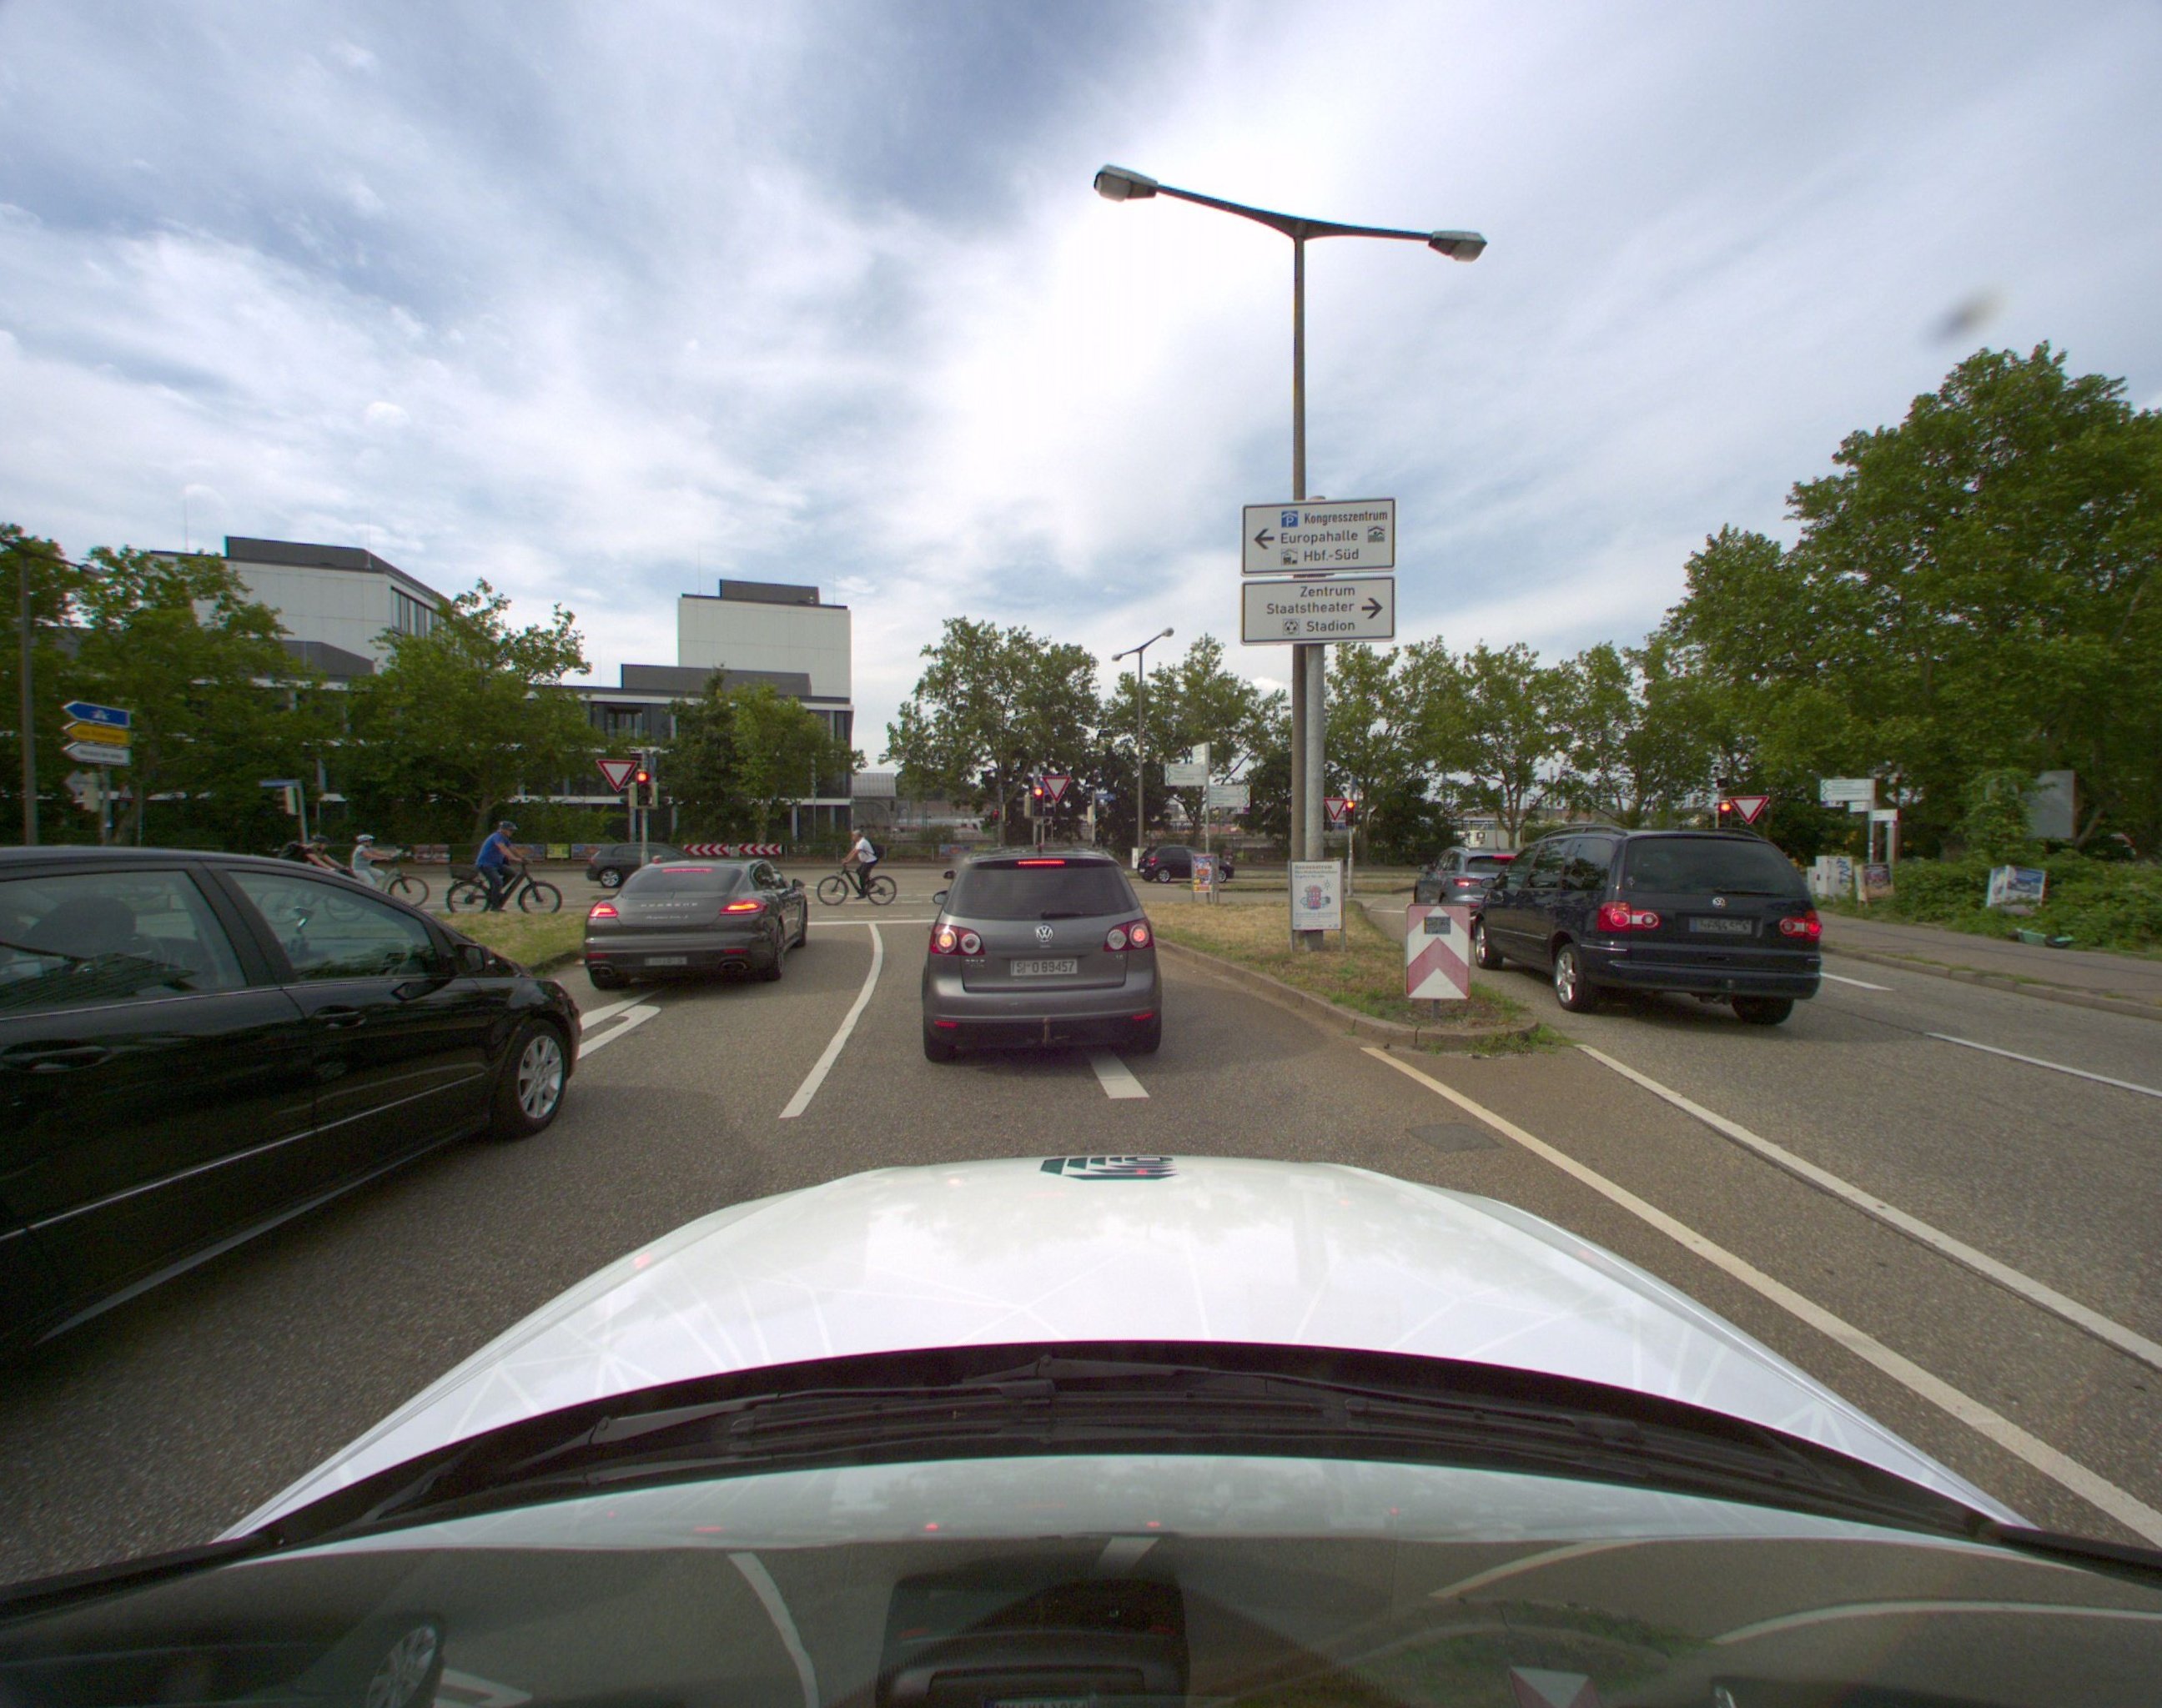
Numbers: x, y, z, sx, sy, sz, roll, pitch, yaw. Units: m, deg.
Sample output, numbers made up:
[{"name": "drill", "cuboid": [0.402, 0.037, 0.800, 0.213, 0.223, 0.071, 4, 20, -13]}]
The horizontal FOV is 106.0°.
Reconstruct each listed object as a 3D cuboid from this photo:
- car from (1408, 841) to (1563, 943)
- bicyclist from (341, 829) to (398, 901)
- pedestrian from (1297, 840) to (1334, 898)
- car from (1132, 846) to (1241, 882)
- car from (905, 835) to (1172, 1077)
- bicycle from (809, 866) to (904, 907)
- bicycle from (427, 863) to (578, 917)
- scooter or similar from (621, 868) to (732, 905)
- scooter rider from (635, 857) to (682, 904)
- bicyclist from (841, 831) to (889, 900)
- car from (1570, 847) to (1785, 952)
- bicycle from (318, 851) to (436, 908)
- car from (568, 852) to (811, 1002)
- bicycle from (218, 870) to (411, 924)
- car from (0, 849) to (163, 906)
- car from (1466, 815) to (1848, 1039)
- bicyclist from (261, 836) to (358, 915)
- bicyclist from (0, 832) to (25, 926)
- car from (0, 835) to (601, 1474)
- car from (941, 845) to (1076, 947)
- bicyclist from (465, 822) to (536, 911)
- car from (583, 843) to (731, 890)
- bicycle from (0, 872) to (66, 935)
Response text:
[{"name": "car", "cuboid": [7.386, 0.616, 15.297, 1.679, 1.585, 4.171, 2, 0, 13]}, {"name": "bicyclist", "cuboid": [-16.050, 0.231, 18.390, 0.783, 1.581, 0.650, -1, 1, -23]}, {"name": "pedestrian", "cuboid": [7.218, 0.446, 25.052, 1.038, 1.710, 0.858, 1, 1, 19]}, {"name": "car", "cuboid": [4.253, 0.368, 32.881, 4.067, 1.368, 1.693, -1, 0, -18]}, {"name": "car", "cuboid": [-0.466, 0.648, 7.361, 1.739, 1.546, 4.073, -1, 0, -6]}, {"name": "bicycle", "cuboid": [-5.580, 0.791, 20.324, 2.233, 0.952, 0.807, -1, 0, -17]}, {"name": "bicycle", "cuboid": [-11.152, 0.666, 15.796, 2.233, 0.952, 0.807, -1, 0, -17]}, {"name": "scooter or similar", "cuboid": [-10.161, 0.805, 20.559, 2.385, 0.849, 0.804, -1, 1, -19]}, {"name": "scooter rider", "cuboid": [-10.574, 0.652, 20.422, 0.916, 1.137, 0.804, -1, 1, -18]}, {"name": "bicyclist", "cuboid": [-5.419, 0.273, 20.369, 1.115, 1.696, 0.808, -1, 0, -17]}, {"name": "car", "cuboid": [10.918, 0.744, 15.296, 1.738, 1.643, 4.152, 2, 0, 13]}, {"name": "bicycle", "cuboid": [-15.913, 0.563, 18.465, 1.909, 1.210, 0.638, -1, 1, -24]}, {"name": "car", "cuboid": [-4.637, 0.704, 10.429, 1.821, 1.414, 4.754, 0, 1, -13]}, {"name": "bicycle", "cuboid": [-14.388, 0.787, 15.376, 2.590, 0.890, 0.701, -1, 1, -17]}, {"name": "car", "cuboid": [-26.637, 0.578, 21.542, 2.719, 1.422, 1.490, -1, 0, -19]}, {"name": "car", "cuboid": [5.569, 0.571, 8.599, 1.739, 1.725, 4.151, 2, 0, 11]}, {"name": "bicyclist", "cuboid": [-14.500, 0.379, 15.336, 1.116, 1.436, 0.644, -1, 1, -16]}, {"name": "bicyclist", "cuboid": [-18.393, 0.411, 13.417, 1.022, 1.539, 0.622, -1, 1, -31]}, {"name": "car", "cuboid": [-3.657, 0.725, 2.962, 1.755, 1.575, 4.028, 0, 1, -6]}, {"name": "car", "cuboid": [-1.398, 0.609, 14.106, 1.743, 1.482, 4.063, -1, 0, -14]}, {"name": "bicyclist", "cuboid": [-11.223, 0.224, 15.776, 0.883, 1.656, 0.807, -1, 0, -17]}, {"name": "car", "cuboid": [-13.913, 0.391, 26.943, 4.067, 1.450, 1.693, -1, 0, -17]}, {"name": "bicycle", "cuboid": [-18.374, 0.834, 13.441, 1.913, 1.013, 0.622, -1, 1, -31]}]
